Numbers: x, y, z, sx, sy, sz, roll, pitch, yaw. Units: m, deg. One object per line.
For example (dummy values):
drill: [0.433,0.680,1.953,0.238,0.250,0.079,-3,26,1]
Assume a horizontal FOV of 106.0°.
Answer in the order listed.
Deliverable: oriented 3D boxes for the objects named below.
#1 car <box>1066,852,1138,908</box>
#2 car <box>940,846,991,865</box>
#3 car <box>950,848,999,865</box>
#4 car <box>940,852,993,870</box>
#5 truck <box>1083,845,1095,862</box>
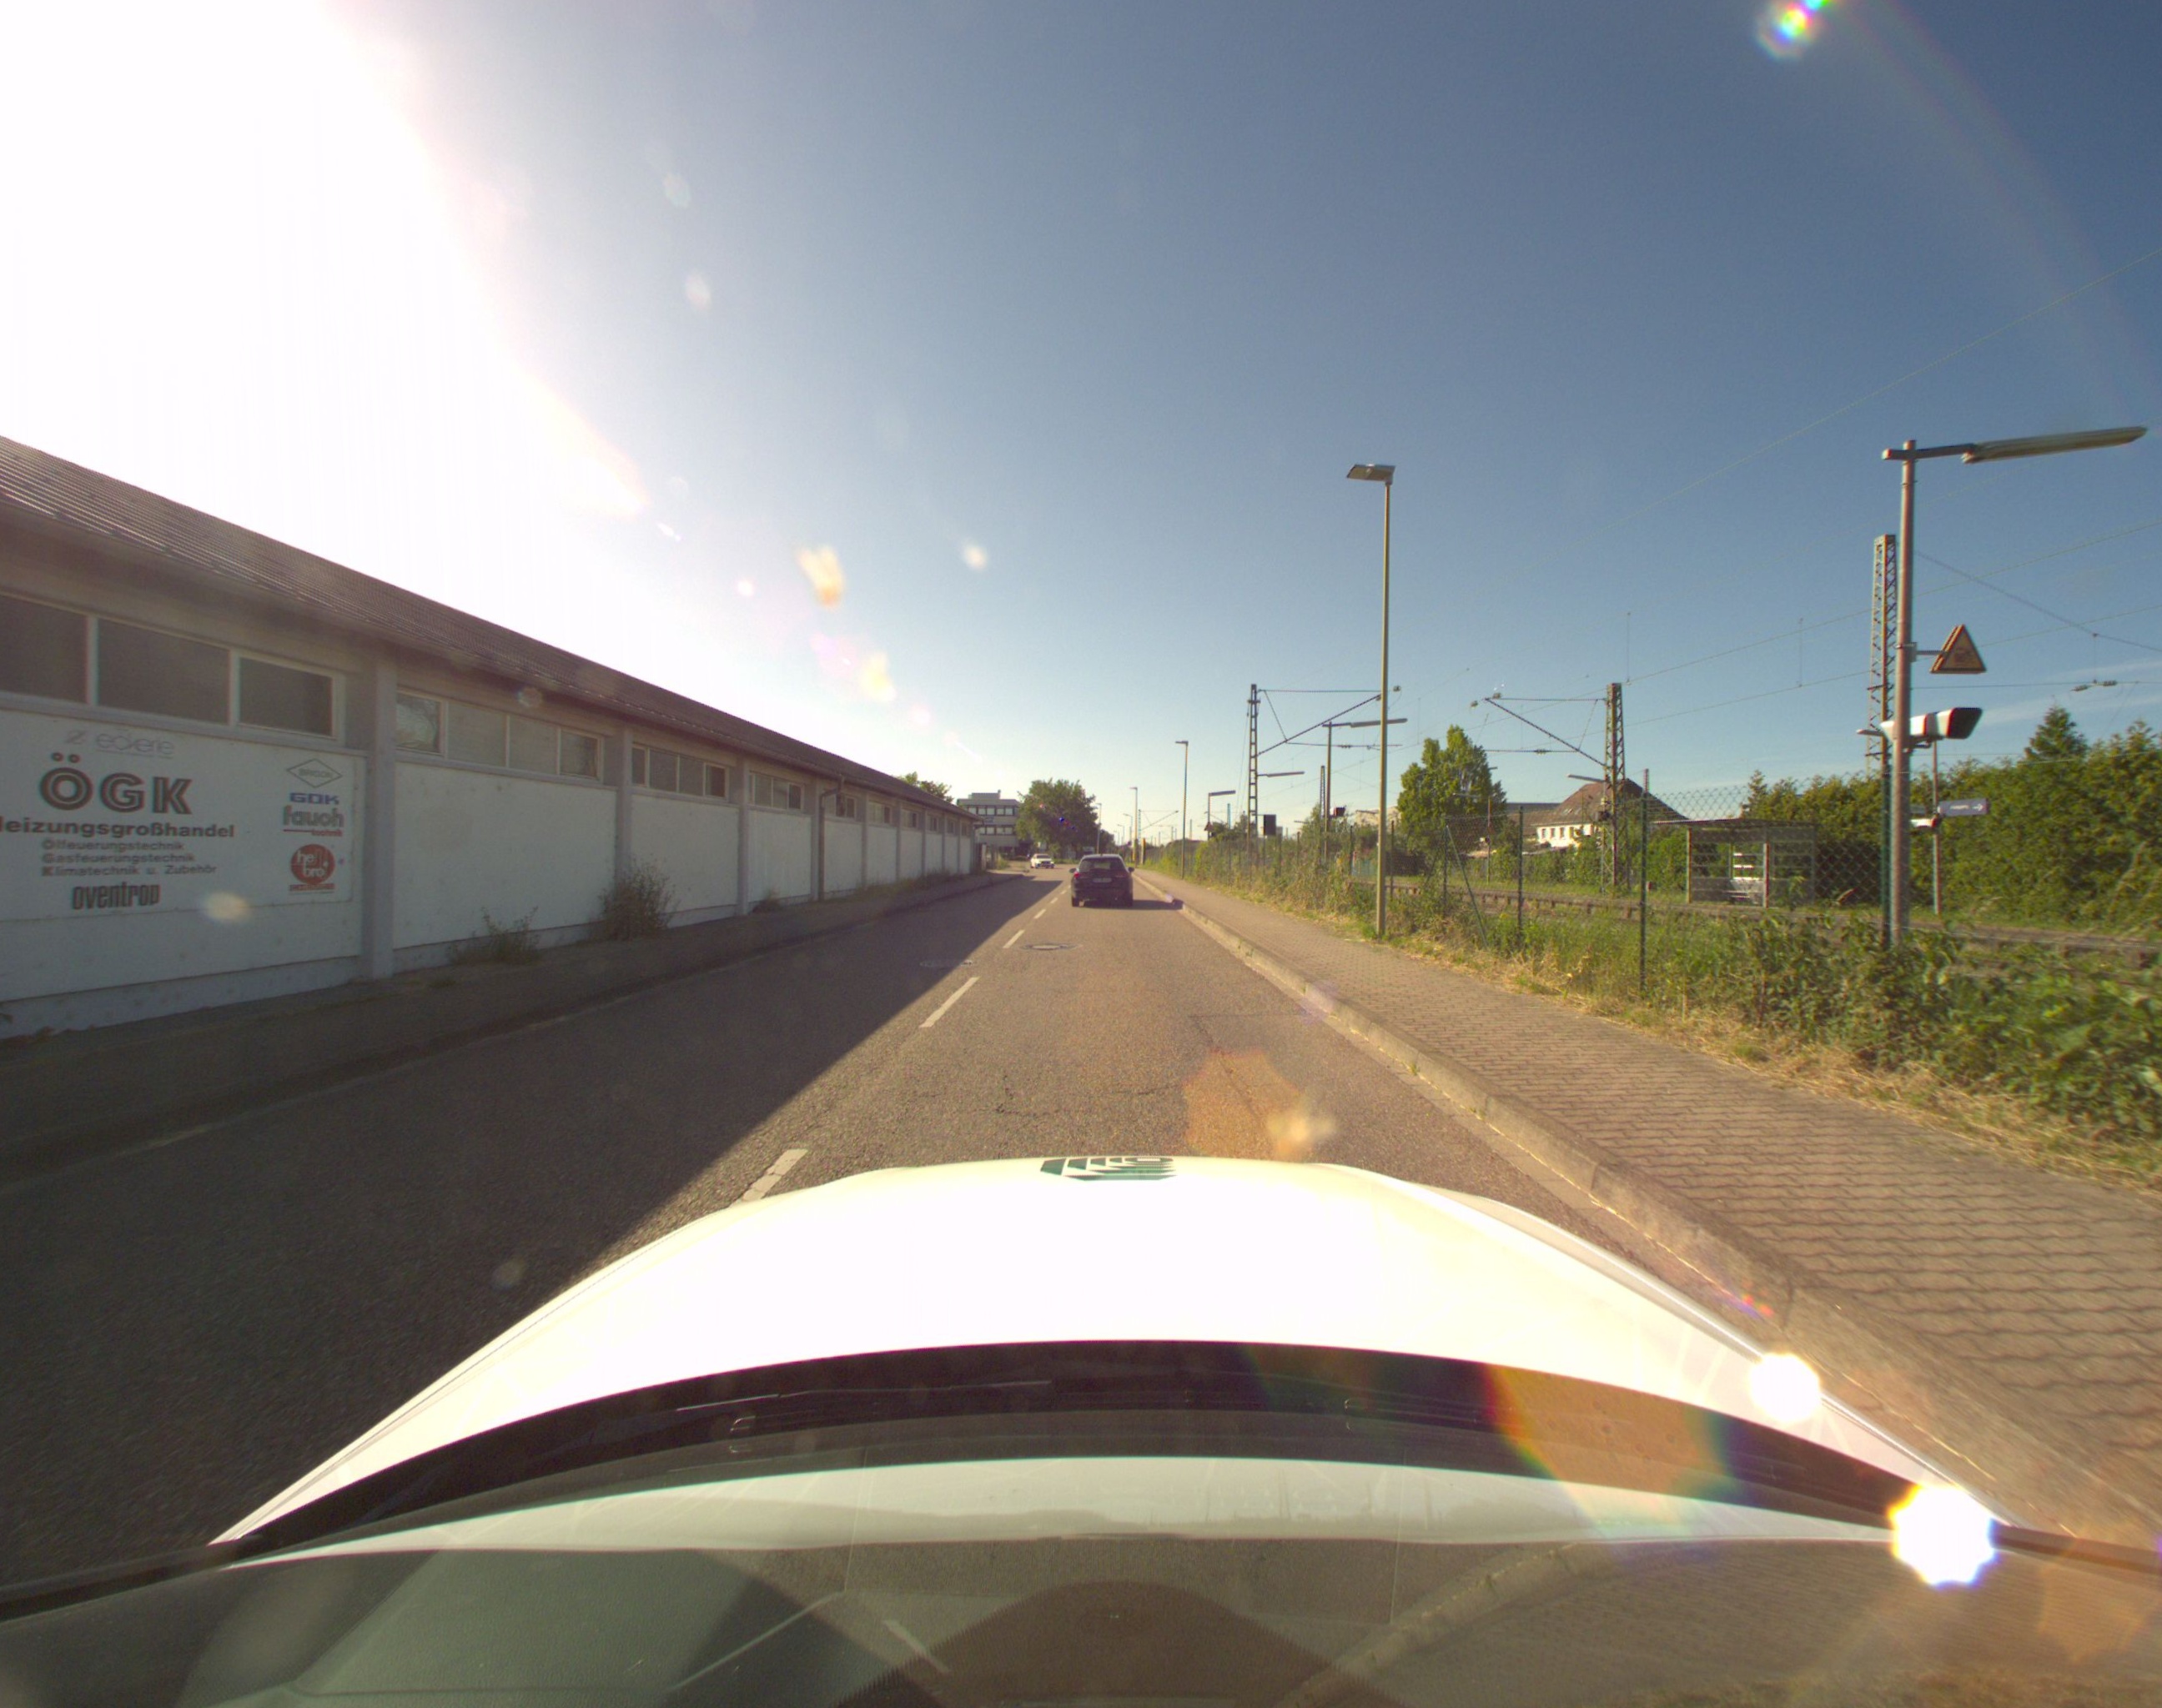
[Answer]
car: [0.622,0.723,24.458,1.935,1.489,4.566,-1,0,1]
car: [-10.130,0.139,71.719,4.388,1.648,1.835,0,0,-9]
car: [-10.374,0.253,79.667,4.417,1.648,1.822,0,0,-31]
car: [-9.744,0.603,69.294,4.388,1.507,1.835,0,0,-9]
truck: [1.849,-0.146,189.636,2.605,3.885,13.528,1,0,0]
